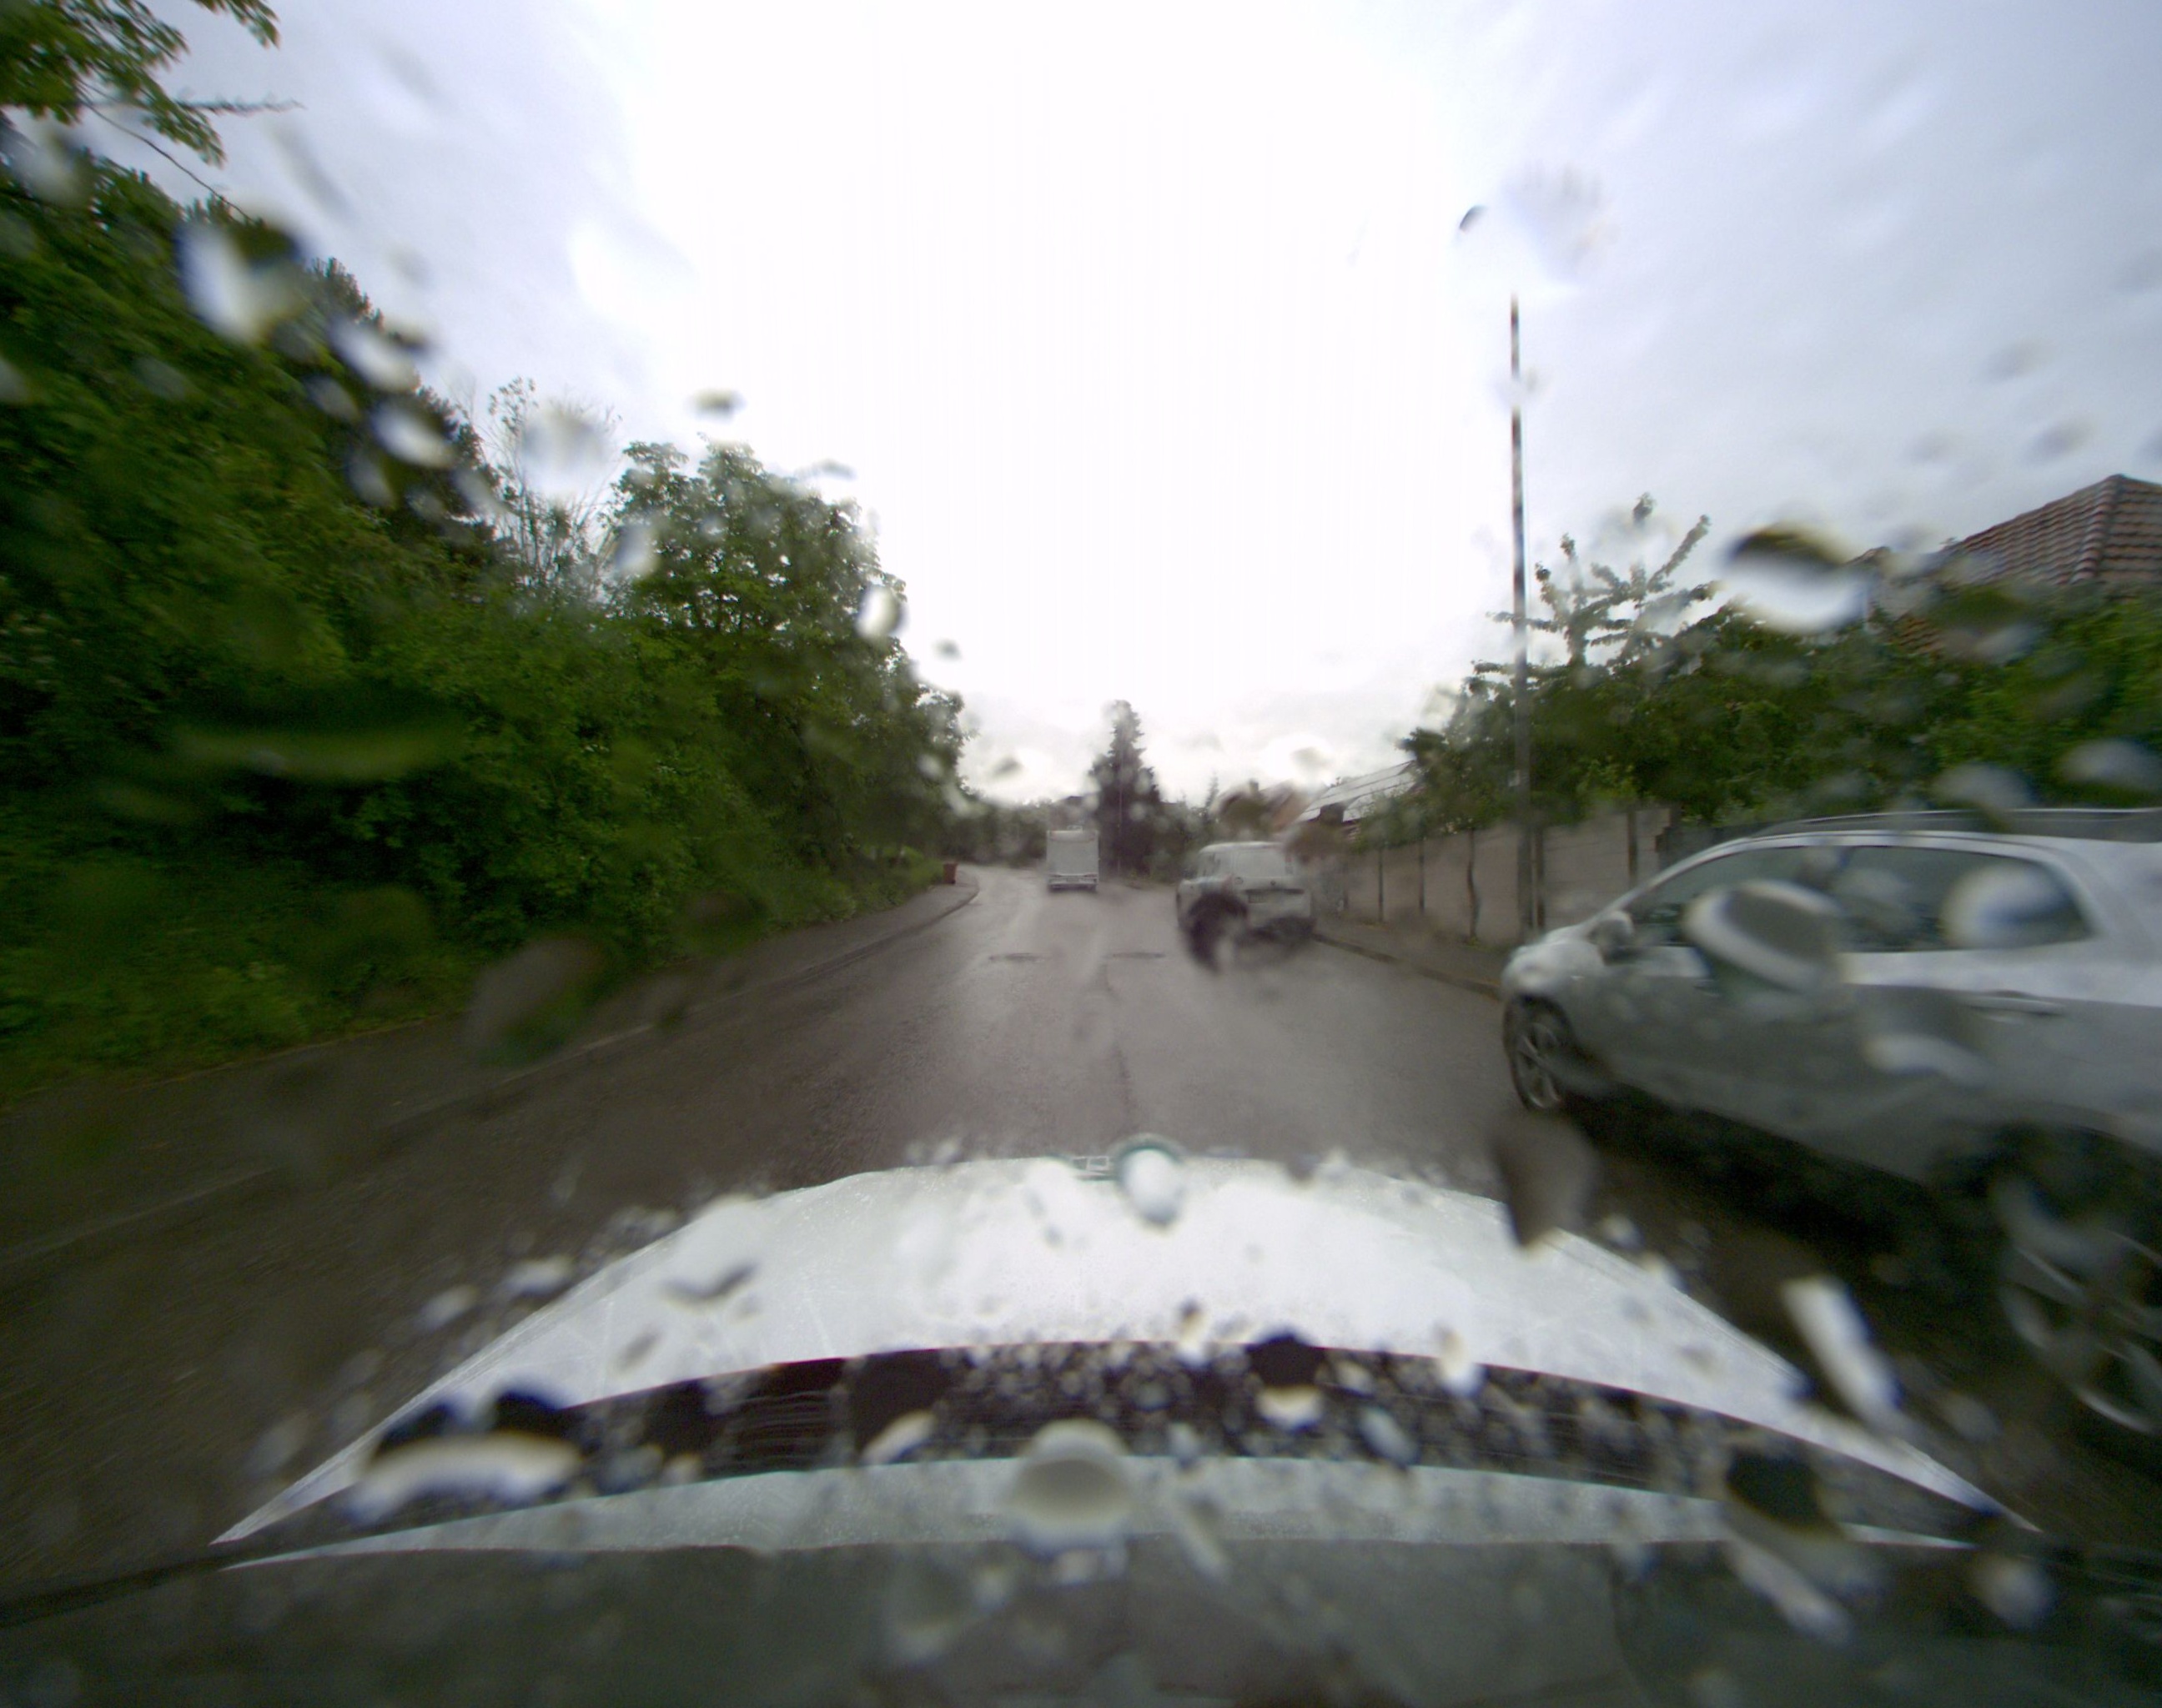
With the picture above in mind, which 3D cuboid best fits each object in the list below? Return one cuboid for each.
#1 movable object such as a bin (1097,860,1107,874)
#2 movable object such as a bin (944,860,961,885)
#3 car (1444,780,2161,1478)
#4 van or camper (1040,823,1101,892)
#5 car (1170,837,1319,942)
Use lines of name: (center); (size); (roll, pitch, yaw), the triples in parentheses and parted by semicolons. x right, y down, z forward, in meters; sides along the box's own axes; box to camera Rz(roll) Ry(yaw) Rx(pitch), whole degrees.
movable object such as a bin: (1.483, 0.931, 57.286); (0.505, 0.969, 0.592); (4, -1, -14)
movable object such as a bin: (-6.297, 0.904, 39.946); (0.693, 1.090, 0.802); (2, 4, -3)
car: (3.410, 0.614, 3.487); (1.798, 1.626, 4.288); (-2, 0, 1)
van or camper: (-0.515, 0.164, 37.366); (2.533, 2.925, 5.943); (0, 0, -2)
car: (3.092, 0.631, 16.466); (1.775, 1.803, 4.700); (0, 0, -4)
